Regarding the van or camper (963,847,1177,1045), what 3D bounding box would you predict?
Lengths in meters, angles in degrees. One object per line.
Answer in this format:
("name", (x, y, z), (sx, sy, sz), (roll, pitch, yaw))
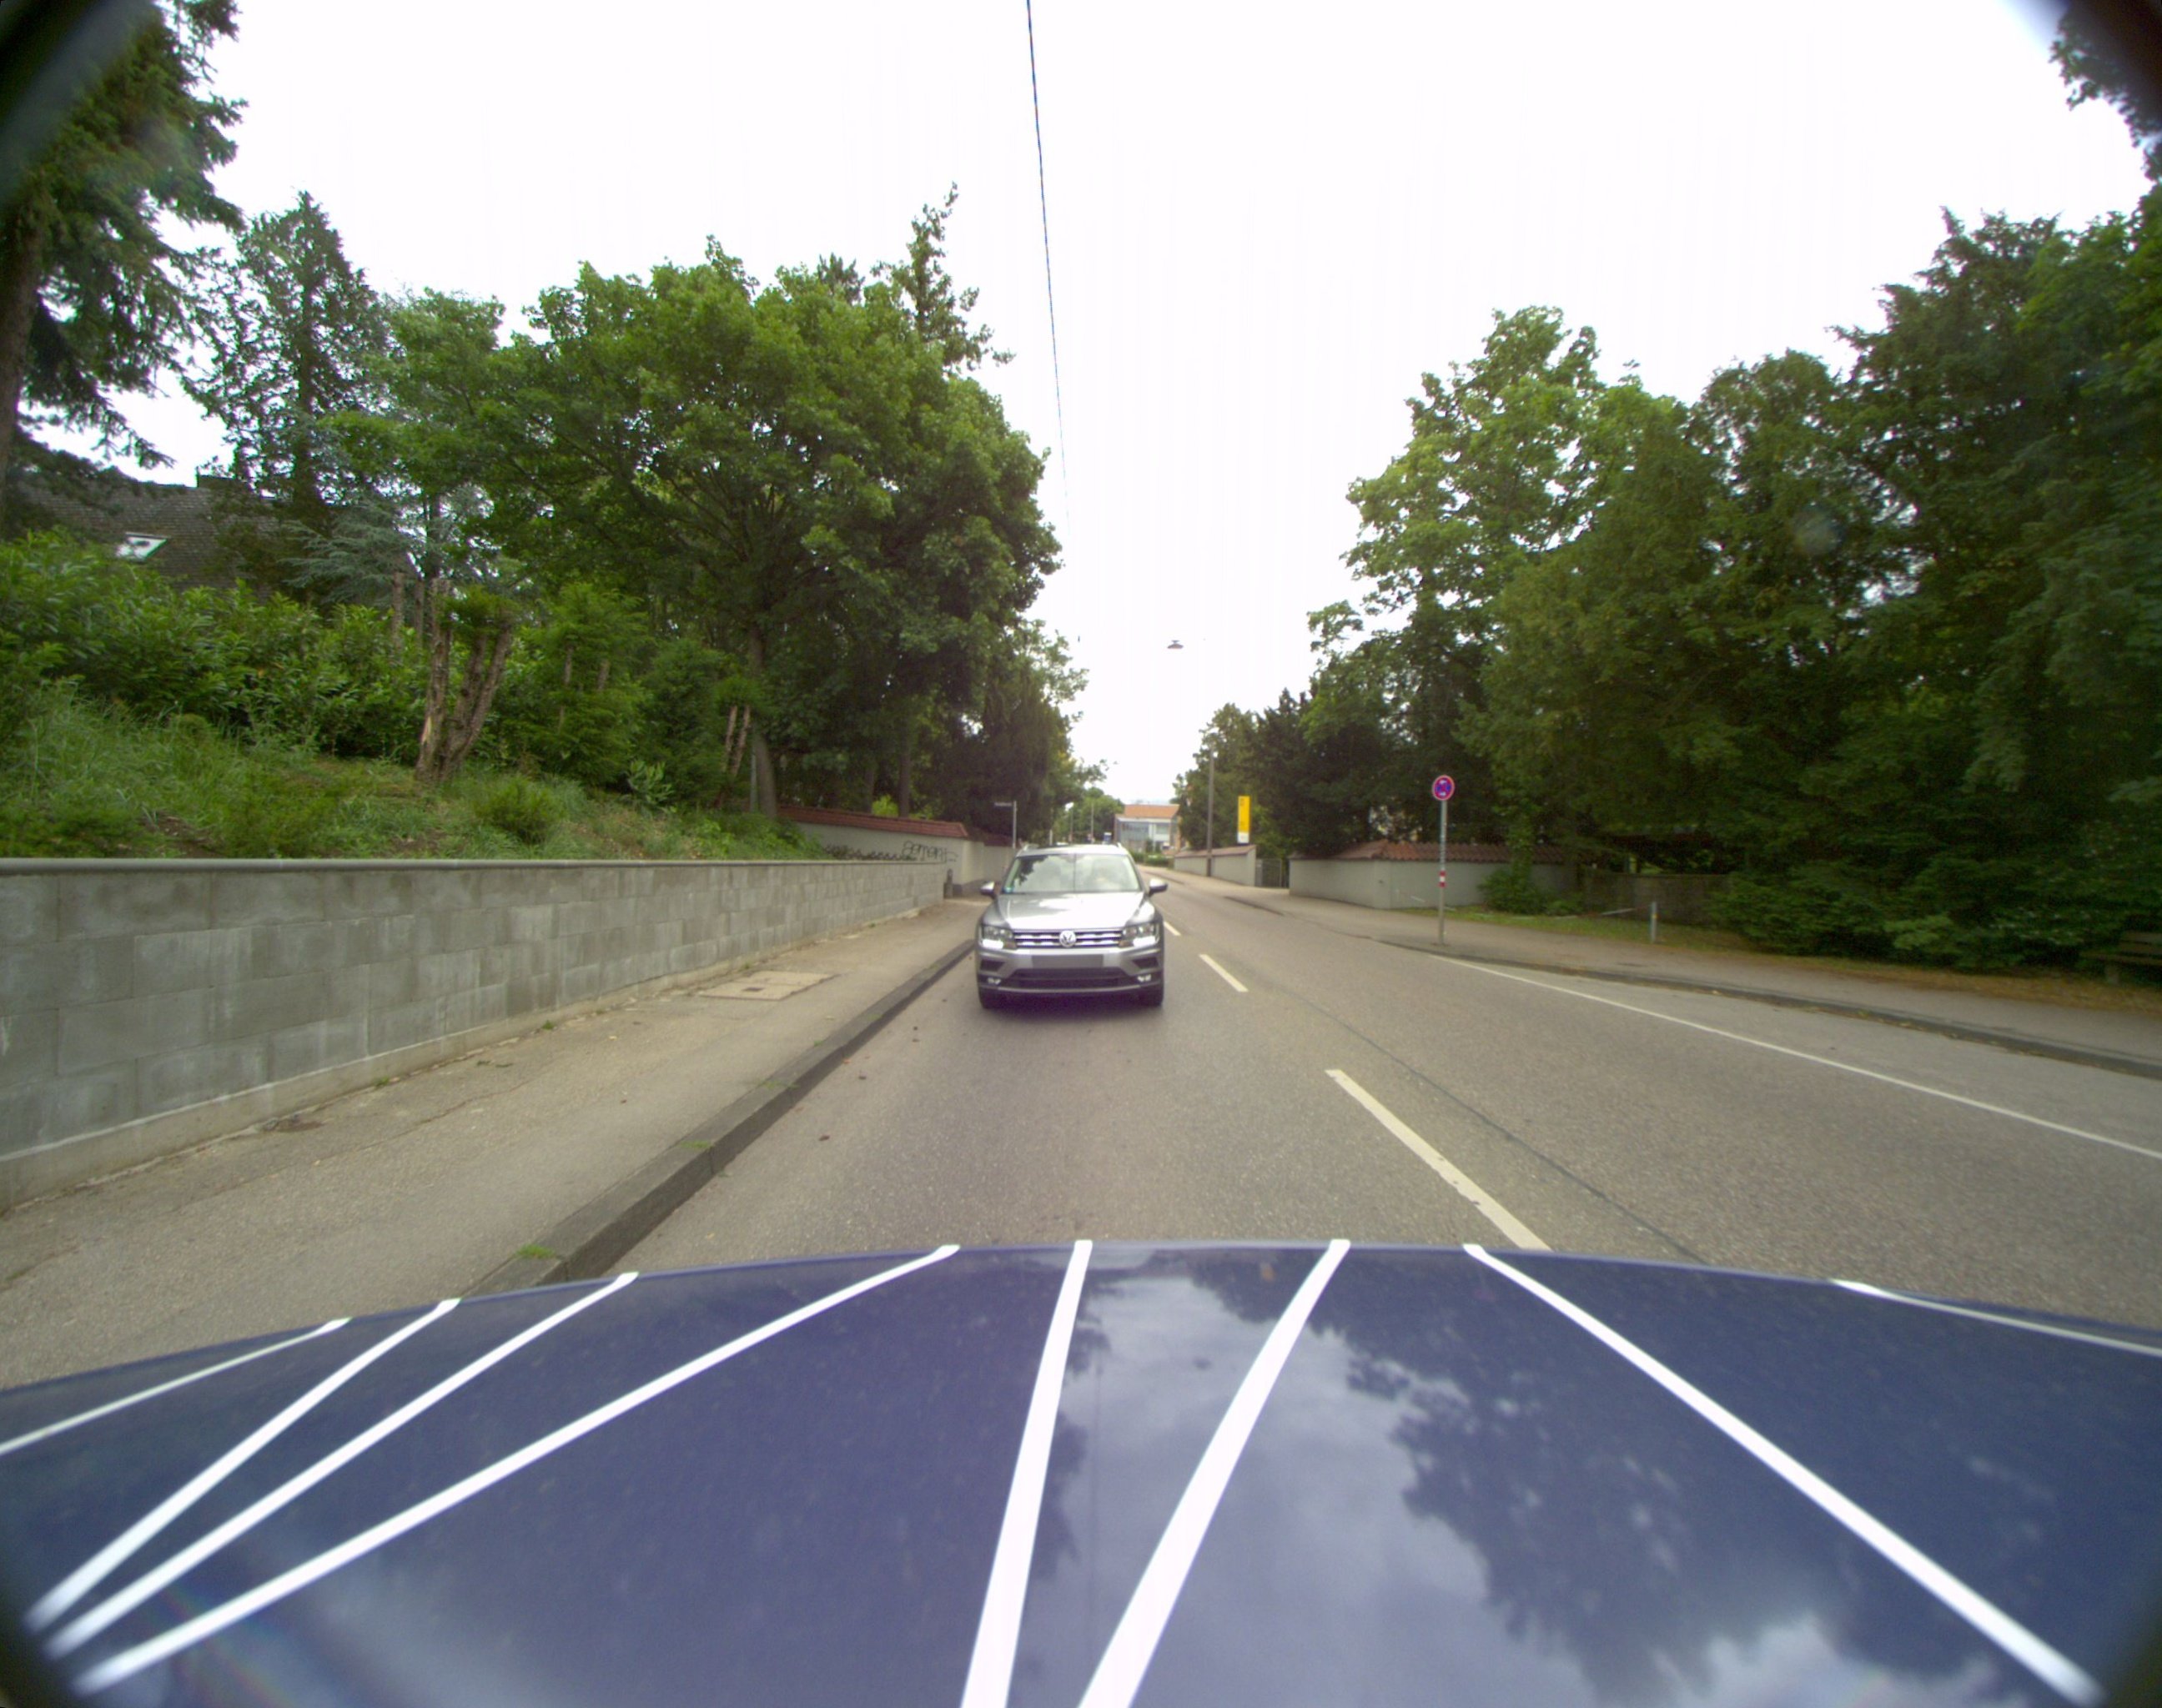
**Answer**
("van or camper", (-0.071, 0.770, 8.518), (1.800, 1.663, 4.198), (0, 0, 1))
